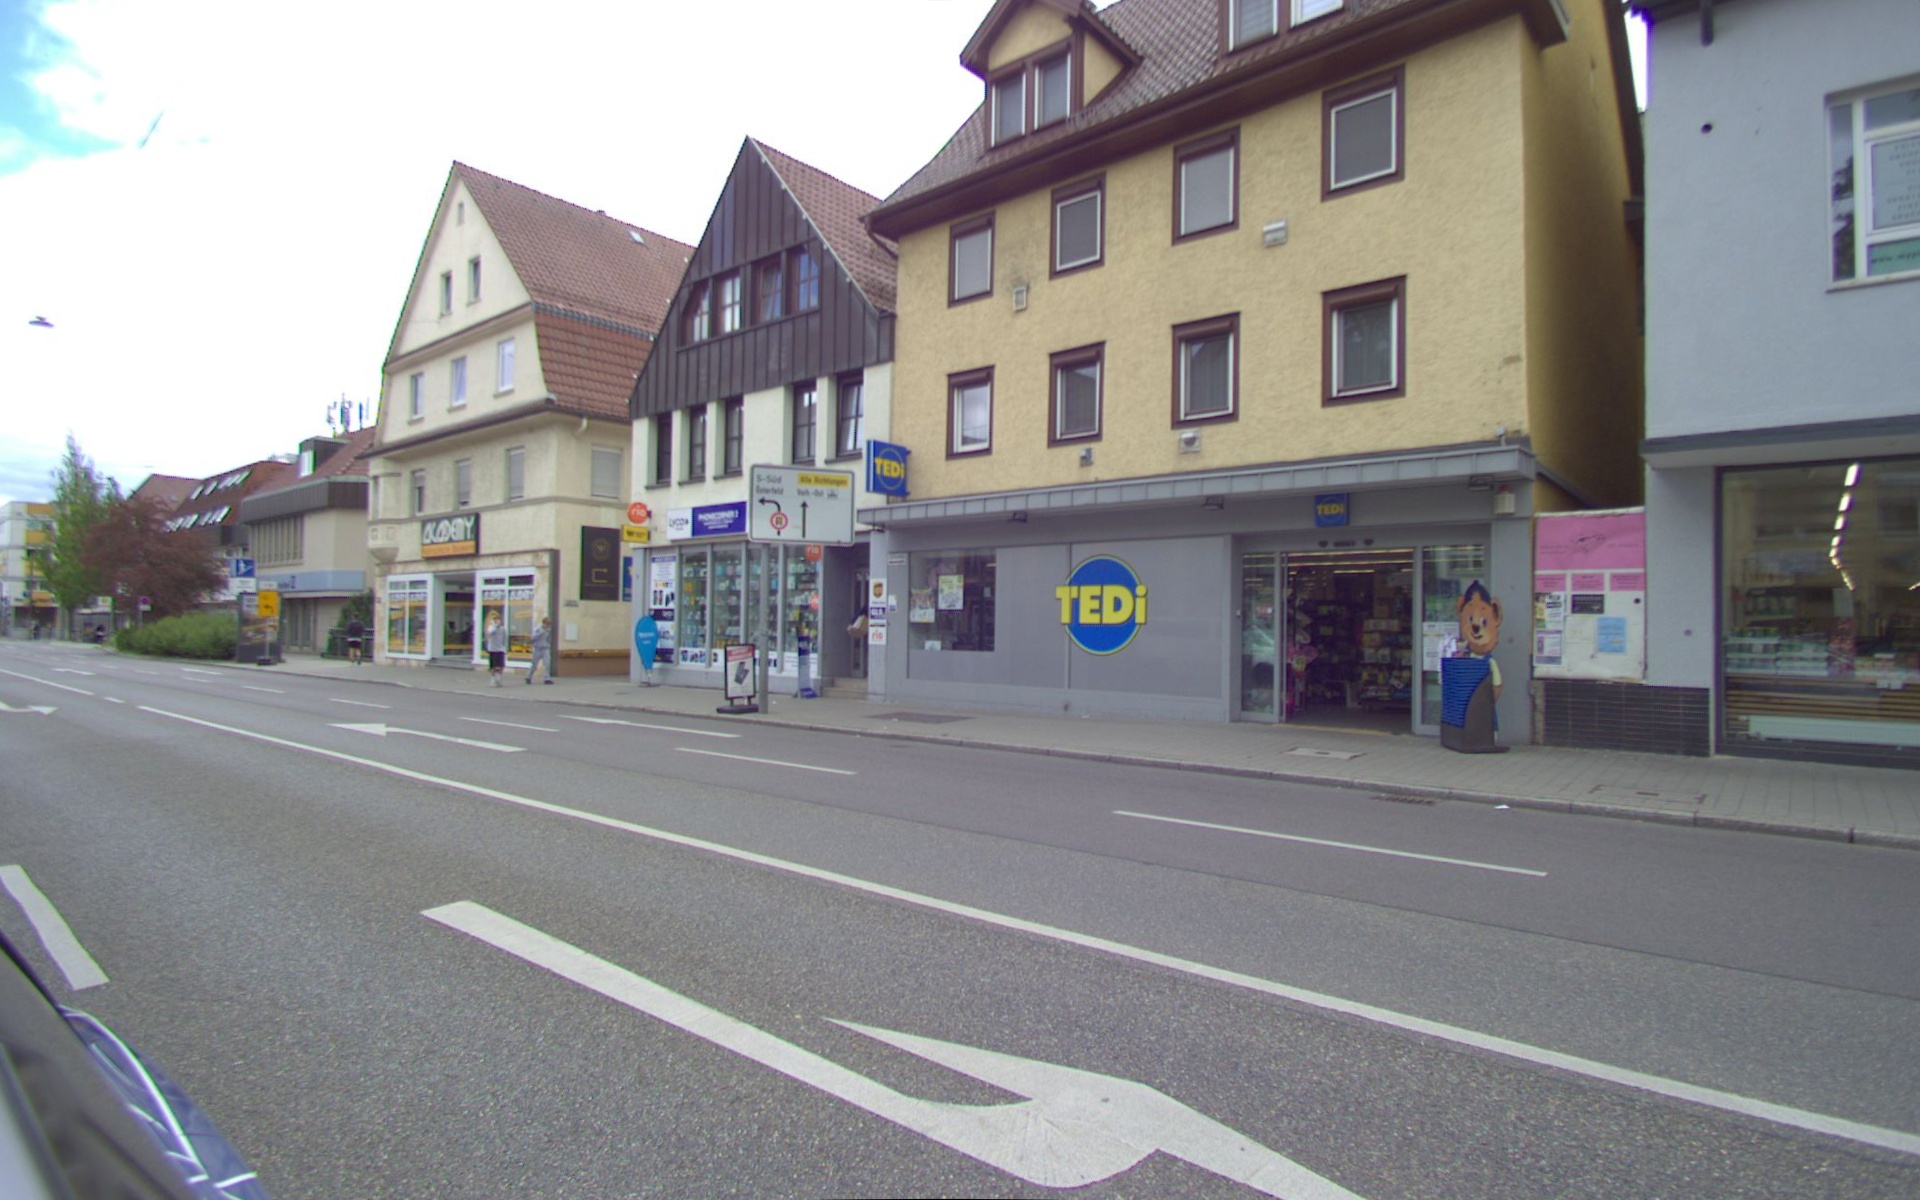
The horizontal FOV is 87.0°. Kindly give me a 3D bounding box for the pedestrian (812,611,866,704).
[{"bbox_3d":[-2.319,1.075,19.378,0.775,1.726,0.679,-2,-1,41],"label":"pedestrian"}]

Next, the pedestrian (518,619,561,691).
[{"bbox_3d":[-10.216,1.314,24.584,0.709,1.683,0.680,-2,0,41],"label":"pedestrian"}]

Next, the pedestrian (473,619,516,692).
[{"bbox_3d":[-11.051,1.304,24.018,0.742,1.703,0.680,-2,-1,41],"label":"pedestrian"}]

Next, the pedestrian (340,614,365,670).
[{"bbox_3d":[-20.944,1.452,34.916,0.592,1.903,0.544,-2,-1,37],"label":"pedestrian"}]
